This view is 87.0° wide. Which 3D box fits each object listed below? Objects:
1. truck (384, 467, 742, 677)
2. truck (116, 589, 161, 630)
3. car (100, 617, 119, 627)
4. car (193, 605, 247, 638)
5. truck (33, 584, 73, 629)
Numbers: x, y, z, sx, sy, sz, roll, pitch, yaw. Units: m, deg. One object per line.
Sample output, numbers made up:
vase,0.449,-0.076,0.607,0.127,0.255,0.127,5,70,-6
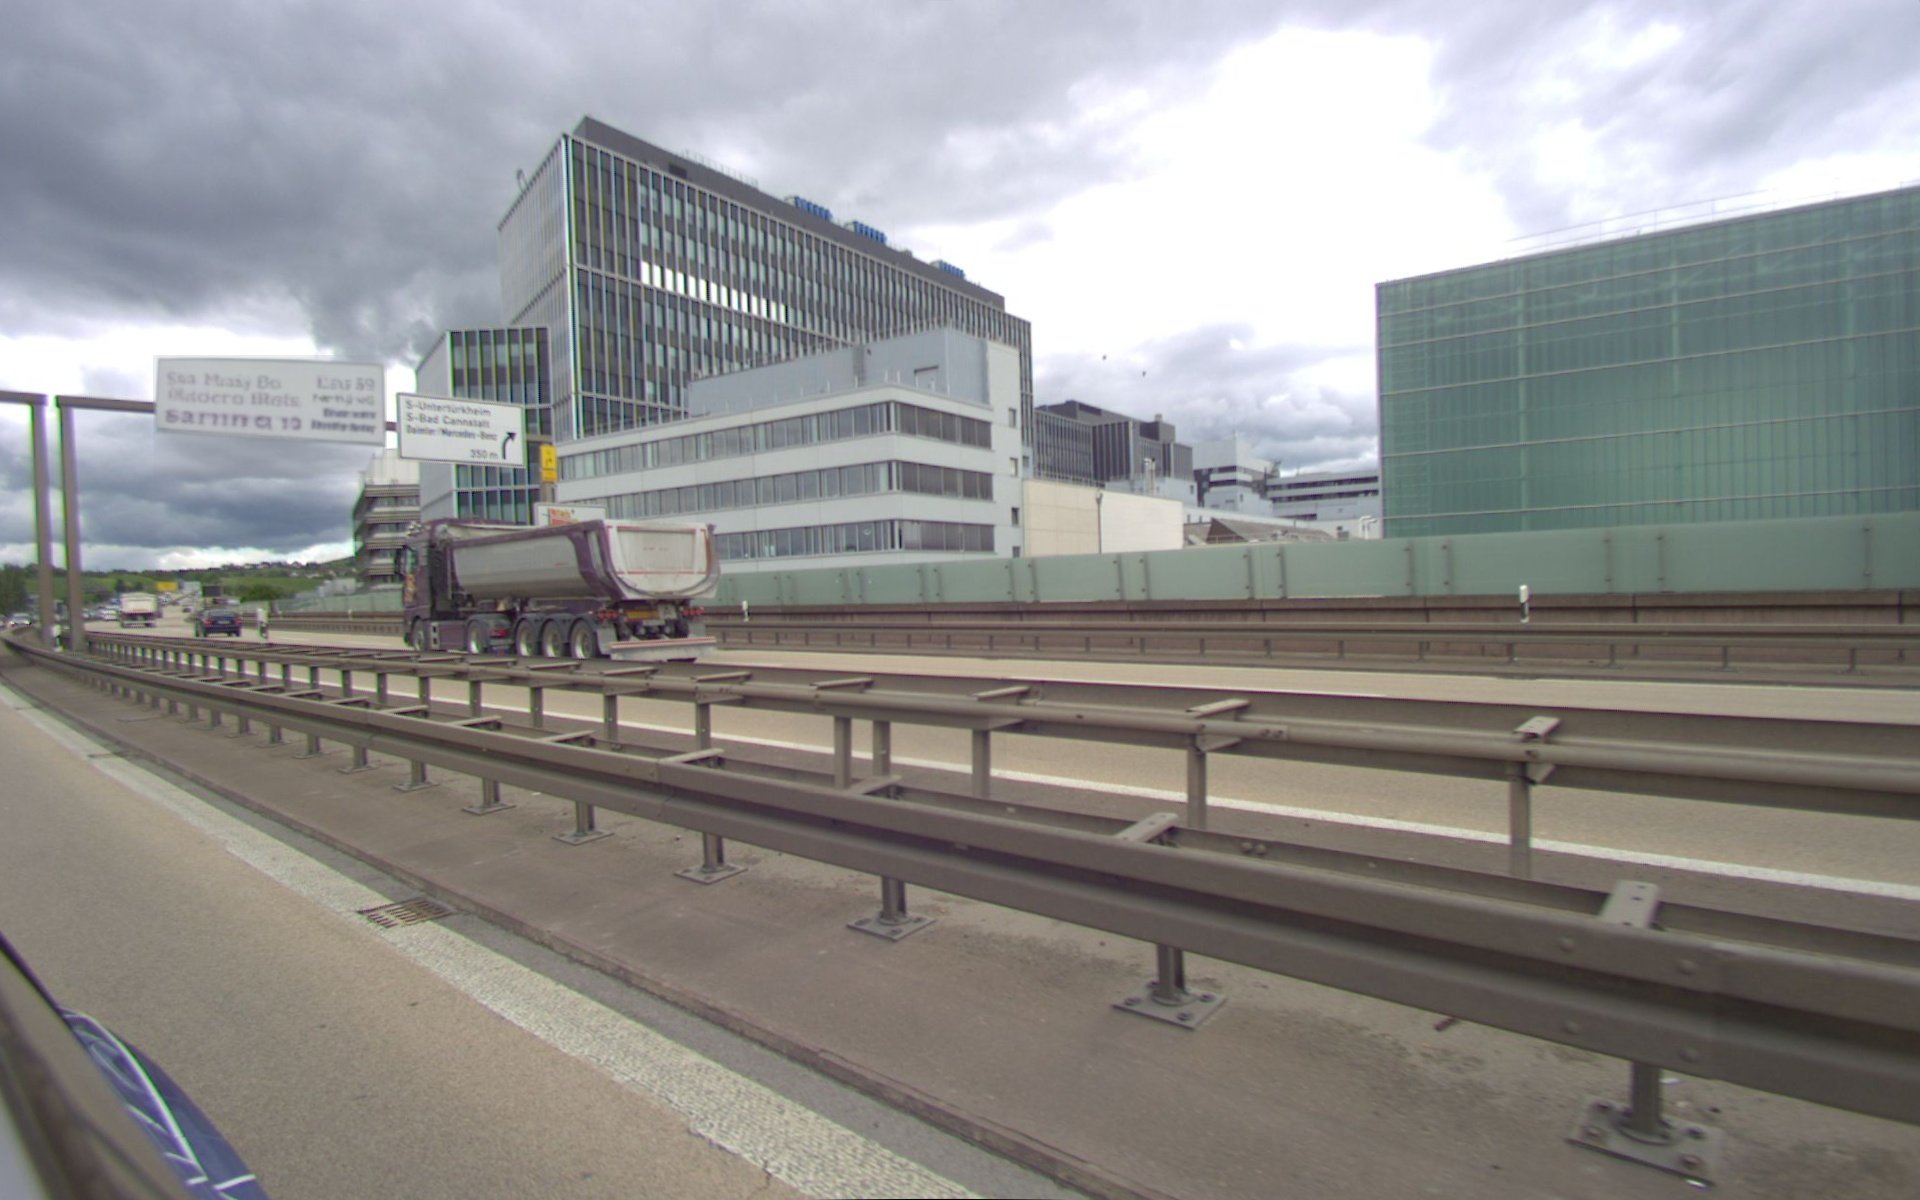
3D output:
truck,-9.813,-0.492,23.628,12.018,3.838,2.780,-1,0,43
truck,-80.729,0.898,99.325,3.019,3.804,12.537,-1,0,-41
car,-139.365,3.562,165.766,1.971,1.618,4.810,-1,0,-45
car,-39.861,1.119,54.469,1.969,1.687,4.414,-1,0,-41
truck,-96.197,0.681,107.348,3.020,4.596,12.086,-1,0,-42
